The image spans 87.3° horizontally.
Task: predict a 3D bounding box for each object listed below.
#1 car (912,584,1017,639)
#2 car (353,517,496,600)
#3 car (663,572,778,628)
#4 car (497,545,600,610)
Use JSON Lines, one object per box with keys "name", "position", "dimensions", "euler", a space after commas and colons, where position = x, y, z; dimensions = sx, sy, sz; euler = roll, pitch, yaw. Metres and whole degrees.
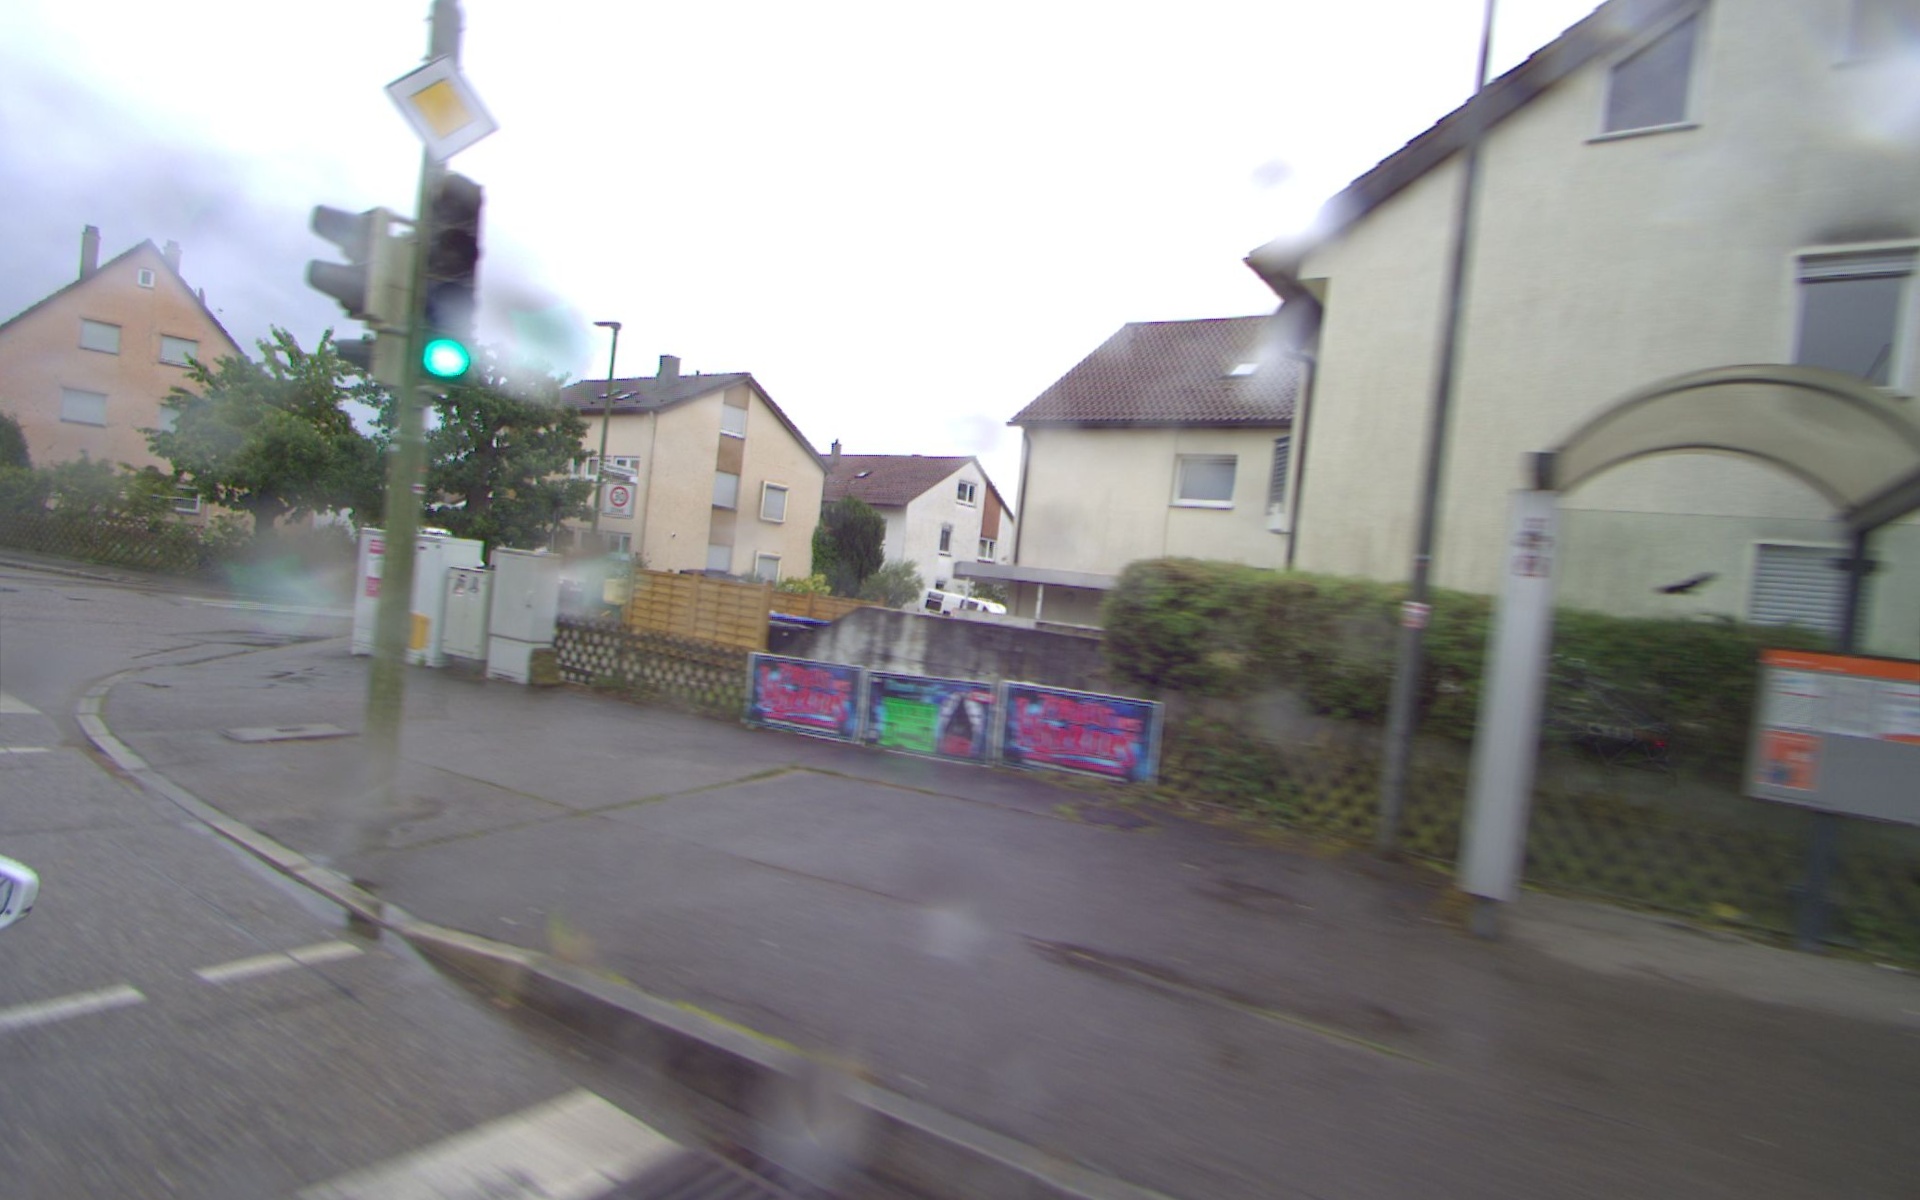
{"name": "car", "position": [0.199, 0.565, 50.423], "dimensions": [4.757, 2.077, 1.947], "euler": [7, -1, 33]}
{"name": "car", "position": [-18.061, -1.425, 33.845], "dimensions": [5.103, 2.109, 1.947], "euler": [8, 0, 35]}
{"name": "car", "position": [-8.481, 0.048, 35.986], "dimensions": [1.859, 1.692, 3.995], "euler": [7, 2, 24]}
{"name": "car", "position": [-14.693, -0.814, 35.871], "dimensions": [3.585, 1.840, 1.656], "euler": [7, -1, 37]}
